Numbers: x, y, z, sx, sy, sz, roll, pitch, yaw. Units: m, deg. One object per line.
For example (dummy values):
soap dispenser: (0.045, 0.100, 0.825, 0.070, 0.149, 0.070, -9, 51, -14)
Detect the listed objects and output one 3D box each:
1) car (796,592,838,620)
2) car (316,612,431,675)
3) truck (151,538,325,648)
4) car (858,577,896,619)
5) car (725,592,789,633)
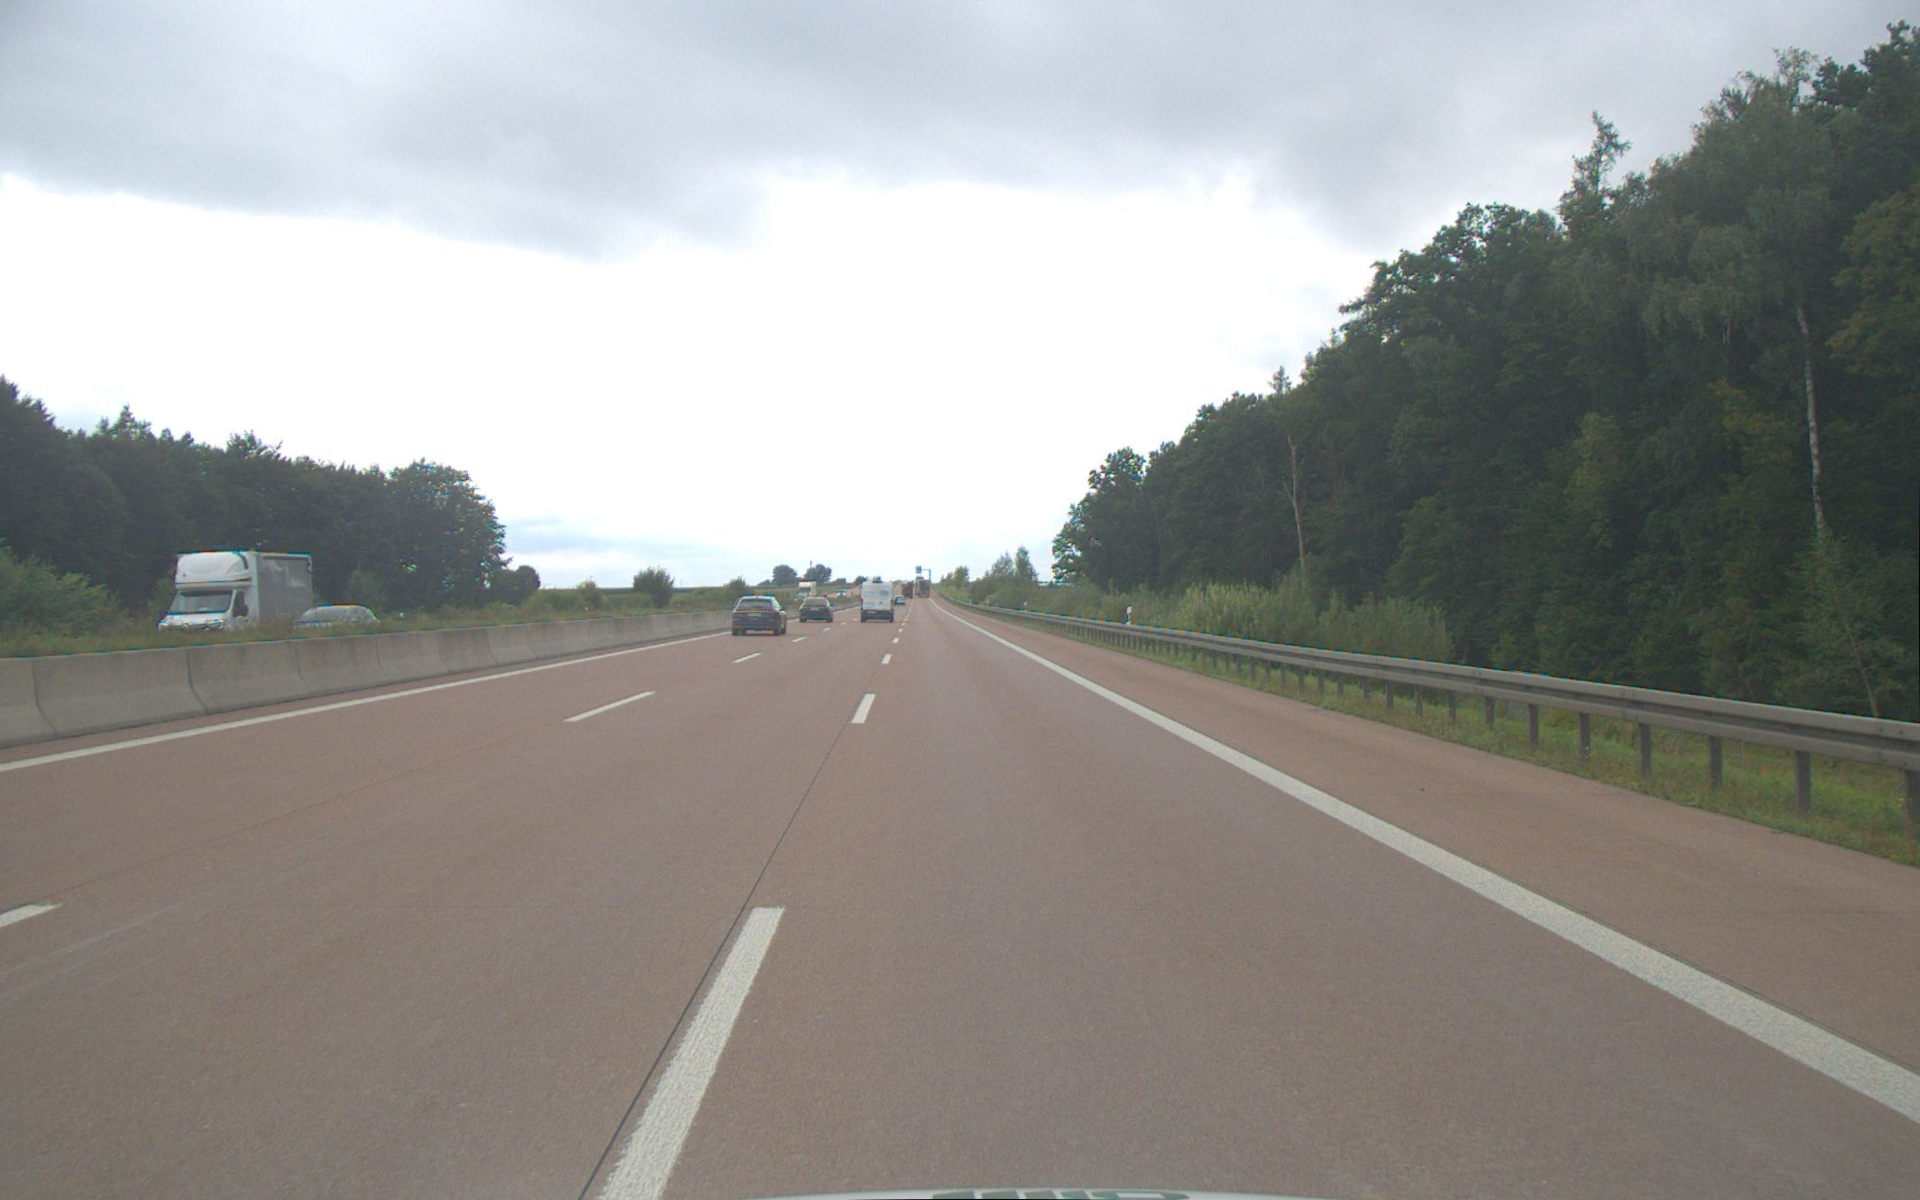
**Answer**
car: (-8.528, 0.323, 98.934, 2.042, 1.577, 5.674, 1, 1, -1)
car: (-17.436, 1.260, 49.355, 1.953, 1.681, 4.164, 2, 0, -1)
truck: (-22.823, -0.214, 52.733, 2.309, 3.153, 7.479, 2, 0, -1)
car: (-5.067, -0.173, 102.211, 2.094, 2.550, 7.130, 0, 1, -1)
car: (-7.906, 0.450, 64.833, 2.018, 1.517, 5.450, 1, 0, -3)
